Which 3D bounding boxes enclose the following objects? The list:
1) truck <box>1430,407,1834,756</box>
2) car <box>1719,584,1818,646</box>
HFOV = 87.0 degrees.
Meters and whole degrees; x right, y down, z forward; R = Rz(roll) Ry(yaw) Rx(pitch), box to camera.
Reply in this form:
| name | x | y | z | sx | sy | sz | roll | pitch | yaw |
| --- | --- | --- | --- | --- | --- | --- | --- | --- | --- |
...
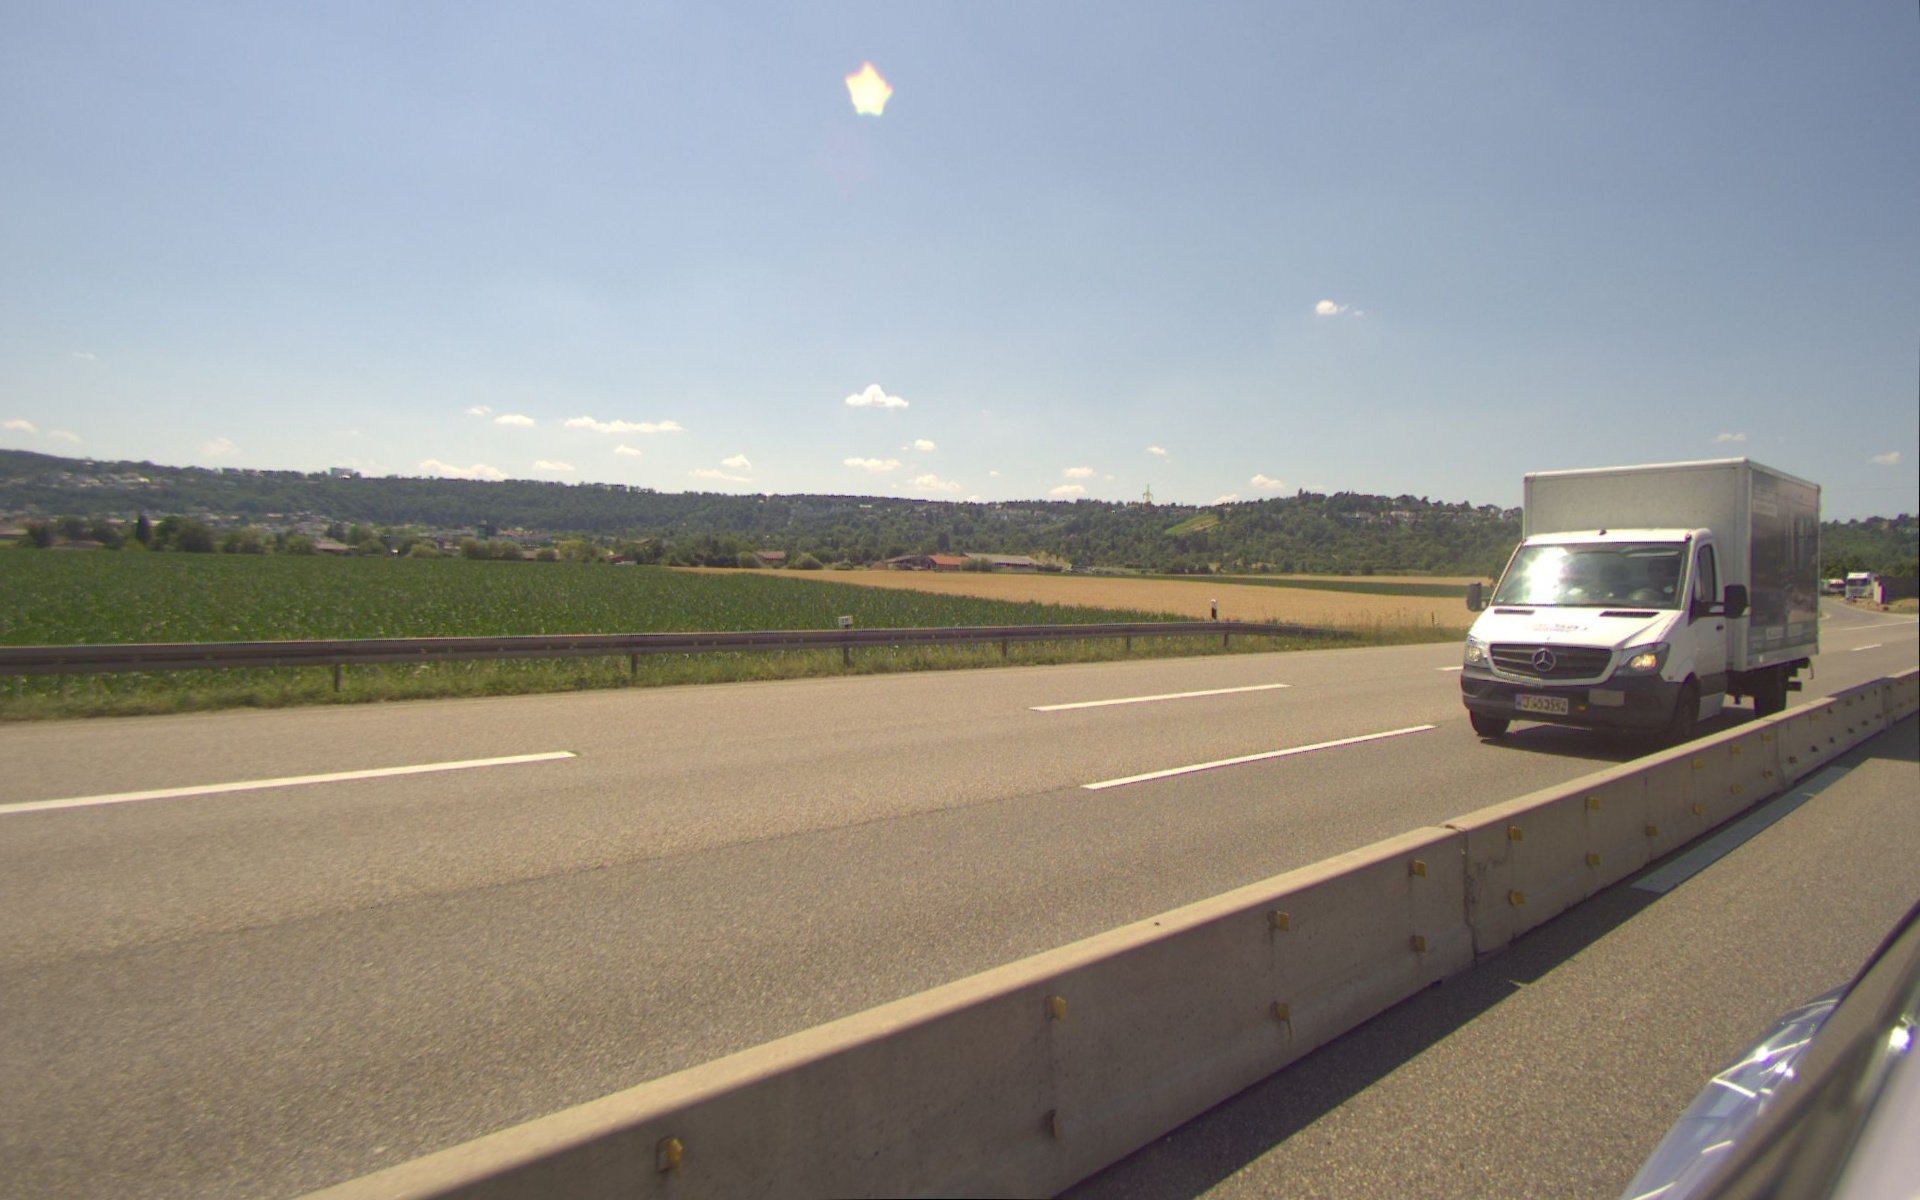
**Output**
| name | x | y | z | sx | sy | sz | roll | pitch | yaw |
| --- | --- | --- | --- | --- | --- | --- | --- | --- | --- |
| truck | 8.266 | -0.146 | 12.050 | 6.632 | 3.106 | 2.325 | 1 | 0 | -41 |
| car | 24.610 | 0.434 | 30.765 | 3.902 | 1.759 | 1.630 | 1 | 0 | -40 |
